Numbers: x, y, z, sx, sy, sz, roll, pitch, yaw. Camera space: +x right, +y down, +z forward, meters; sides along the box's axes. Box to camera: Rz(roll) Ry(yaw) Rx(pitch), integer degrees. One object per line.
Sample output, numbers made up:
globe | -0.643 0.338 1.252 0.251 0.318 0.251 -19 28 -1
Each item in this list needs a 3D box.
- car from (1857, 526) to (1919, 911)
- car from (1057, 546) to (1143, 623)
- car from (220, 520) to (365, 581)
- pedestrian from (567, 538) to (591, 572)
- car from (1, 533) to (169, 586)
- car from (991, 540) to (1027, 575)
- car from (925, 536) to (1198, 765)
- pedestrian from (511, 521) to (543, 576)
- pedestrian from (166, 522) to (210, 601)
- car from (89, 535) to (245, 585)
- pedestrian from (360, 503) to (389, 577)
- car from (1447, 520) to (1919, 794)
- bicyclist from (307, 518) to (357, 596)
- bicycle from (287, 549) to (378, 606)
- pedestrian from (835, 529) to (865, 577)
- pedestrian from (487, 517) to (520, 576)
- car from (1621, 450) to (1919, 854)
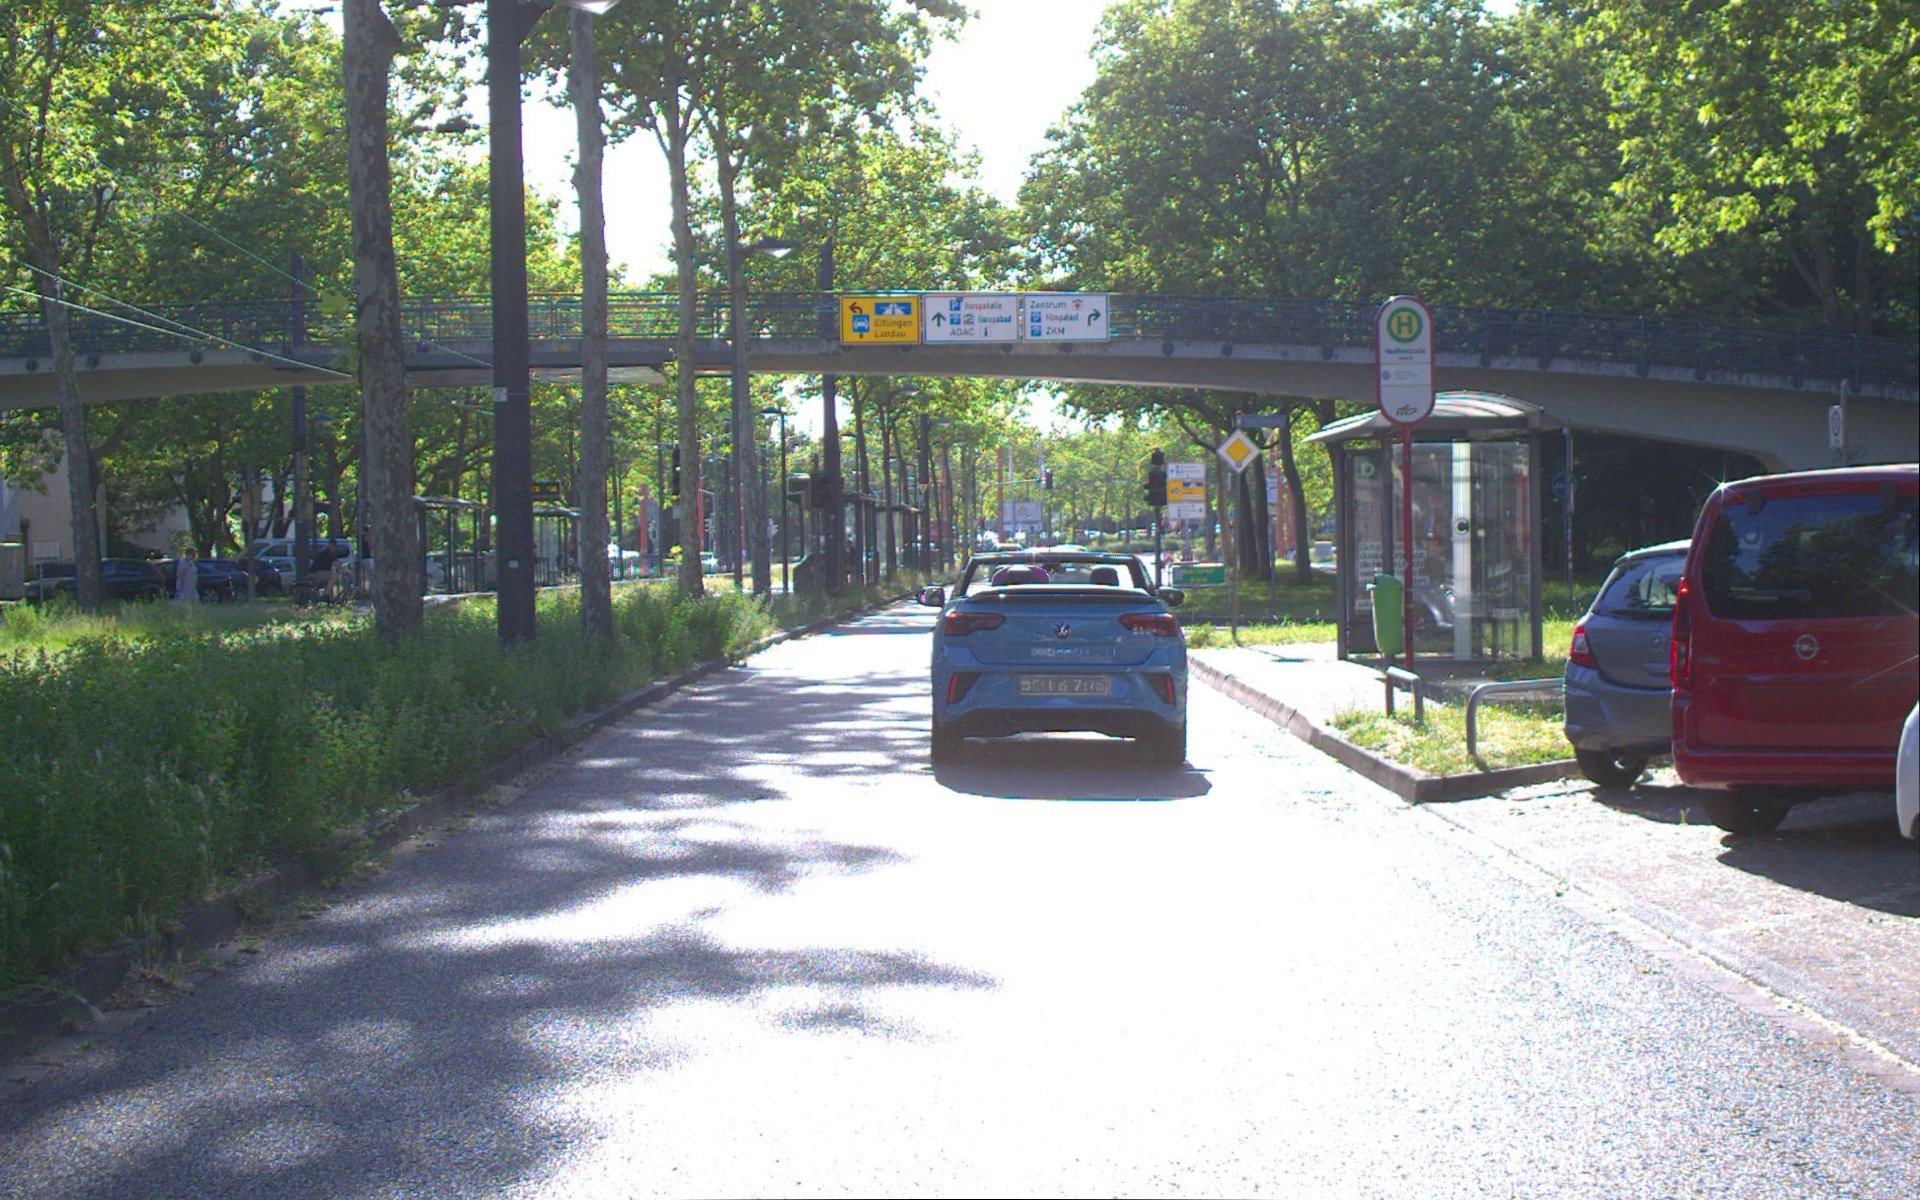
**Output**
car | 5.433 0.379 14.118 3.617 1.490 1.681 -3 1 -43
car | 3.369 -0.399 83.171 1.982 1.786 4.614 1 1 1
car | -23.028 -1.708 118.652 4.486 2.056 1.900 0 2 -37
pedestrian | -13.231 -1.568 119.390 0.694 1.123 0.662 -4 0 3
car | -24.456 -1.132 96.141 4.187 1.423 1.700 0 2 -37
car | 2.299 -2.003 161.377 1.710 1.598 3.350 0 1 1
car | 0.659 0.301 25.107 1.776 1.478 4.100 1 1 -1
pedestrian | -12.193 -1.458 96.750 0.682 1.508 0.644 -2 1 8
pedestrian | -16.552 -0.823 73.735 0.725 1.668 1.049 1 1 -2
car | -23.684 -1.201 102.742 4.187 1.423 1.700 0 2 -37
pedestrian | -14.129 -1.448 82.942 0.502 1.764 0.484 0 1 -39
car | 4.814 0.295 21.311 3.819 1.467 1.517 -3 2 -45
bicyclist | -13.299 -0.916 72.848 0.953 1.626 0.815 1 2 -5
bicycle | -13.295 -0.478 72.885 1.830 1.143 0.815 1 2 -5
pedestrian | -2.900 -1.248 90.551 0.733 1.248 0.588 1 1 -4
pedestrian | -12.995 -1.522 97.833 0.713 1.629 0.731 -1 1 10
car | 5.287 0.163 17.459 3.941 1.836 1.768 -3 1 -43
